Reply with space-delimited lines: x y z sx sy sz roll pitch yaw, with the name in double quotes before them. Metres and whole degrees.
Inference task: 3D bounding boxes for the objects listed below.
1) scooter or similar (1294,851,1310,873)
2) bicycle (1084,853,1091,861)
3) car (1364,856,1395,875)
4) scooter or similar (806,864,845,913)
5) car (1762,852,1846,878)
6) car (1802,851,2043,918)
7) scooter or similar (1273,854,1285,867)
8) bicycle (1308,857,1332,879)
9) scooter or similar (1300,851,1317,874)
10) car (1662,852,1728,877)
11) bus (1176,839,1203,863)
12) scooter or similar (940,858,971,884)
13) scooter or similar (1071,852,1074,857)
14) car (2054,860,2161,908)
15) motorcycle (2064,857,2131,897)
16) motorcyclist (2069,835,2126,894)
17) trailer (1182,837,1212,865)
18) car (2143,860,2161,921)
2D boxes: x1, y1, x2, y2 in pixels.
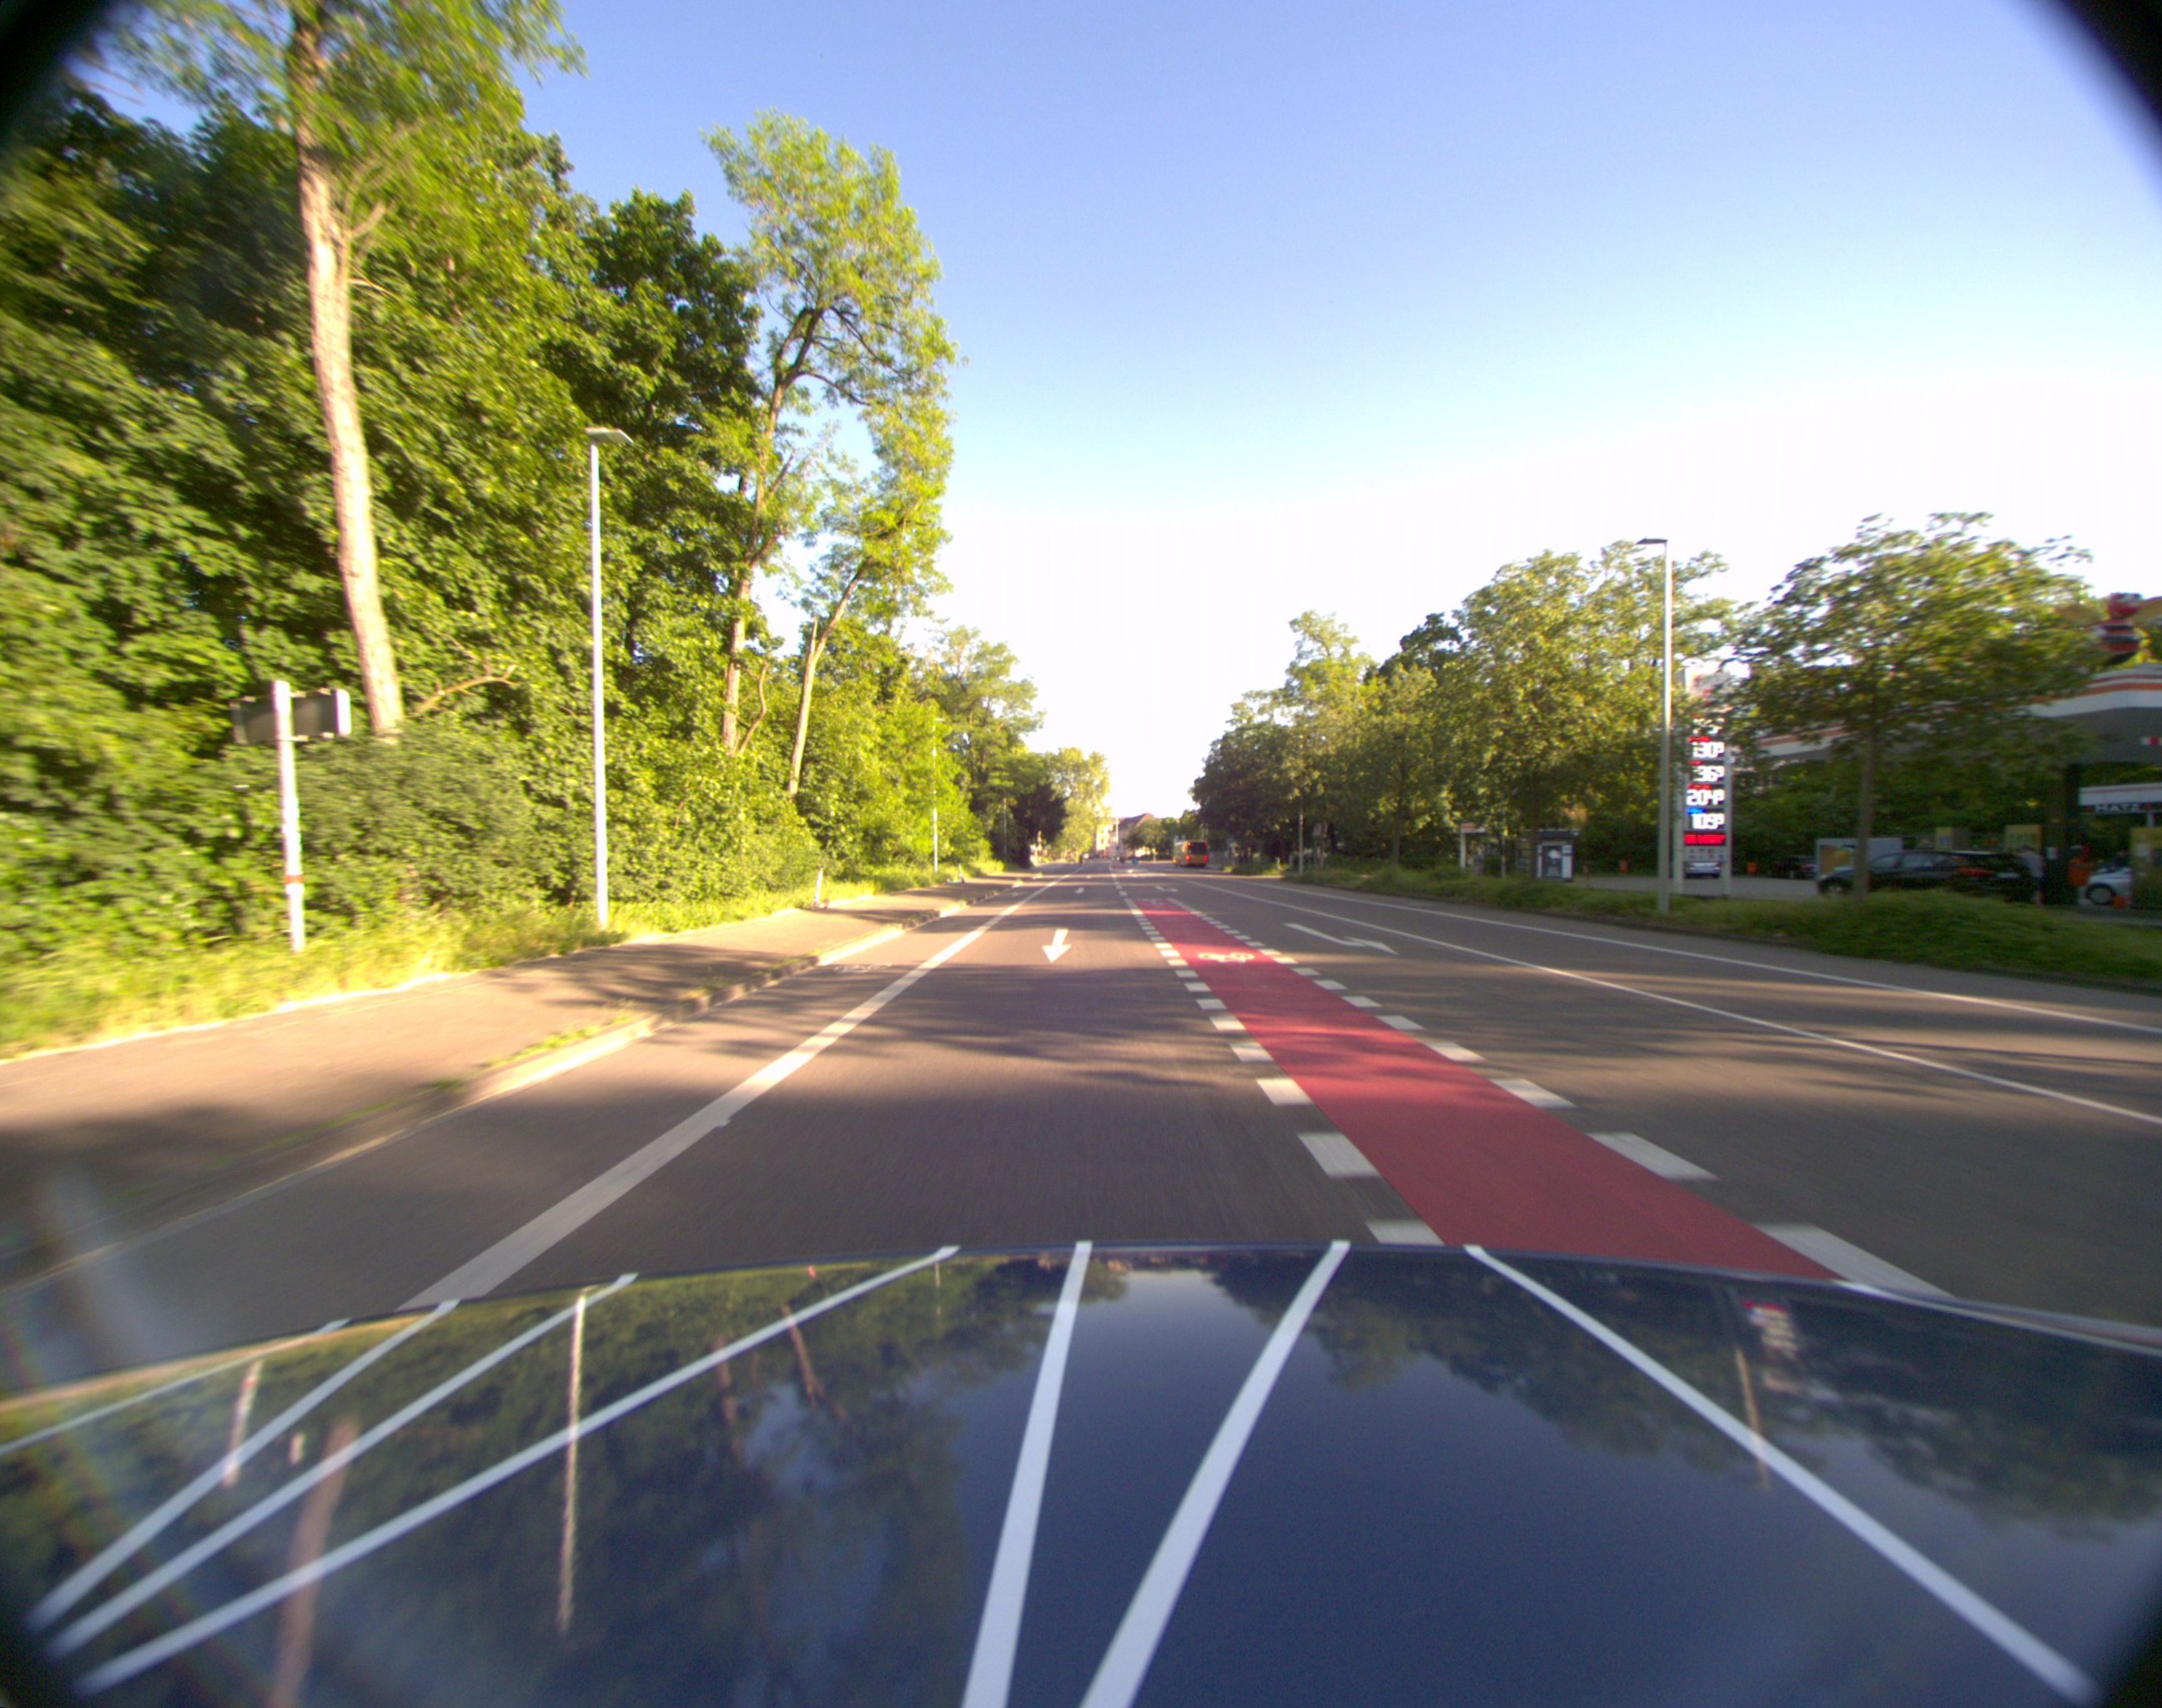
"scooter or similar" 17.935 0.637 61.654 0.829 1.707 1.741 0 0 1
"bicycle" 0.997 0.427 113.812 0.694 1.089 2.138 0 0 12
"car" 23.586 0.856 59.922 1.558 1.392 3.498 3 2 32
"scooter or similar" -6.878 0.912 20.523 0.534 1.243 1.541 0 0 1
"car" 43.630 0.632 45.957 1.996 1.527 3.917 0 0 14
"car" 23.434 0.763 21.470 1.715 1.681 4.452 0 0 -3
"scooter or similar" 19.783 0.627 75.854 0.829 1.303 1.571 0 0 1
"bicycle" 14.433 0.835 45.953 0.656 1.243 2.158 0 0 -4
"scooter or similar" 17.846 0.657 59.712 0.829 1.707 1.741 0 0 1
"car" 38.556 0.630 47.844 1.995 1.527 4.027 0 0 19
"bus" 14.986 -0.428 105.210 2.847 3.178 8.600 0 0 3
"scooter or similar" -6.332 0.846 38.370 1.544 1.243 0.533 0 1 -42
"scooter or similar" -2.156 0.136 196.306 0.794 1.248 1.836 4 0 1
"car" 31.697 0.872 22.043 1.715 1.368 4.059 0 0 0
"motorcycle" 38.322 0.837 28.694 1.131 1.443 2.511 1 1 44
"motorcyclist" 38.241 0.396 28.598 1.018 2.169 1.120 -1 1 -45
"trailer" 14.593 -0.379 96.232 2.861 3.336 9.363 -2 1 3
"car" 27.525 0.913 16.783 1.715 1.489 4.577 0 0 0
